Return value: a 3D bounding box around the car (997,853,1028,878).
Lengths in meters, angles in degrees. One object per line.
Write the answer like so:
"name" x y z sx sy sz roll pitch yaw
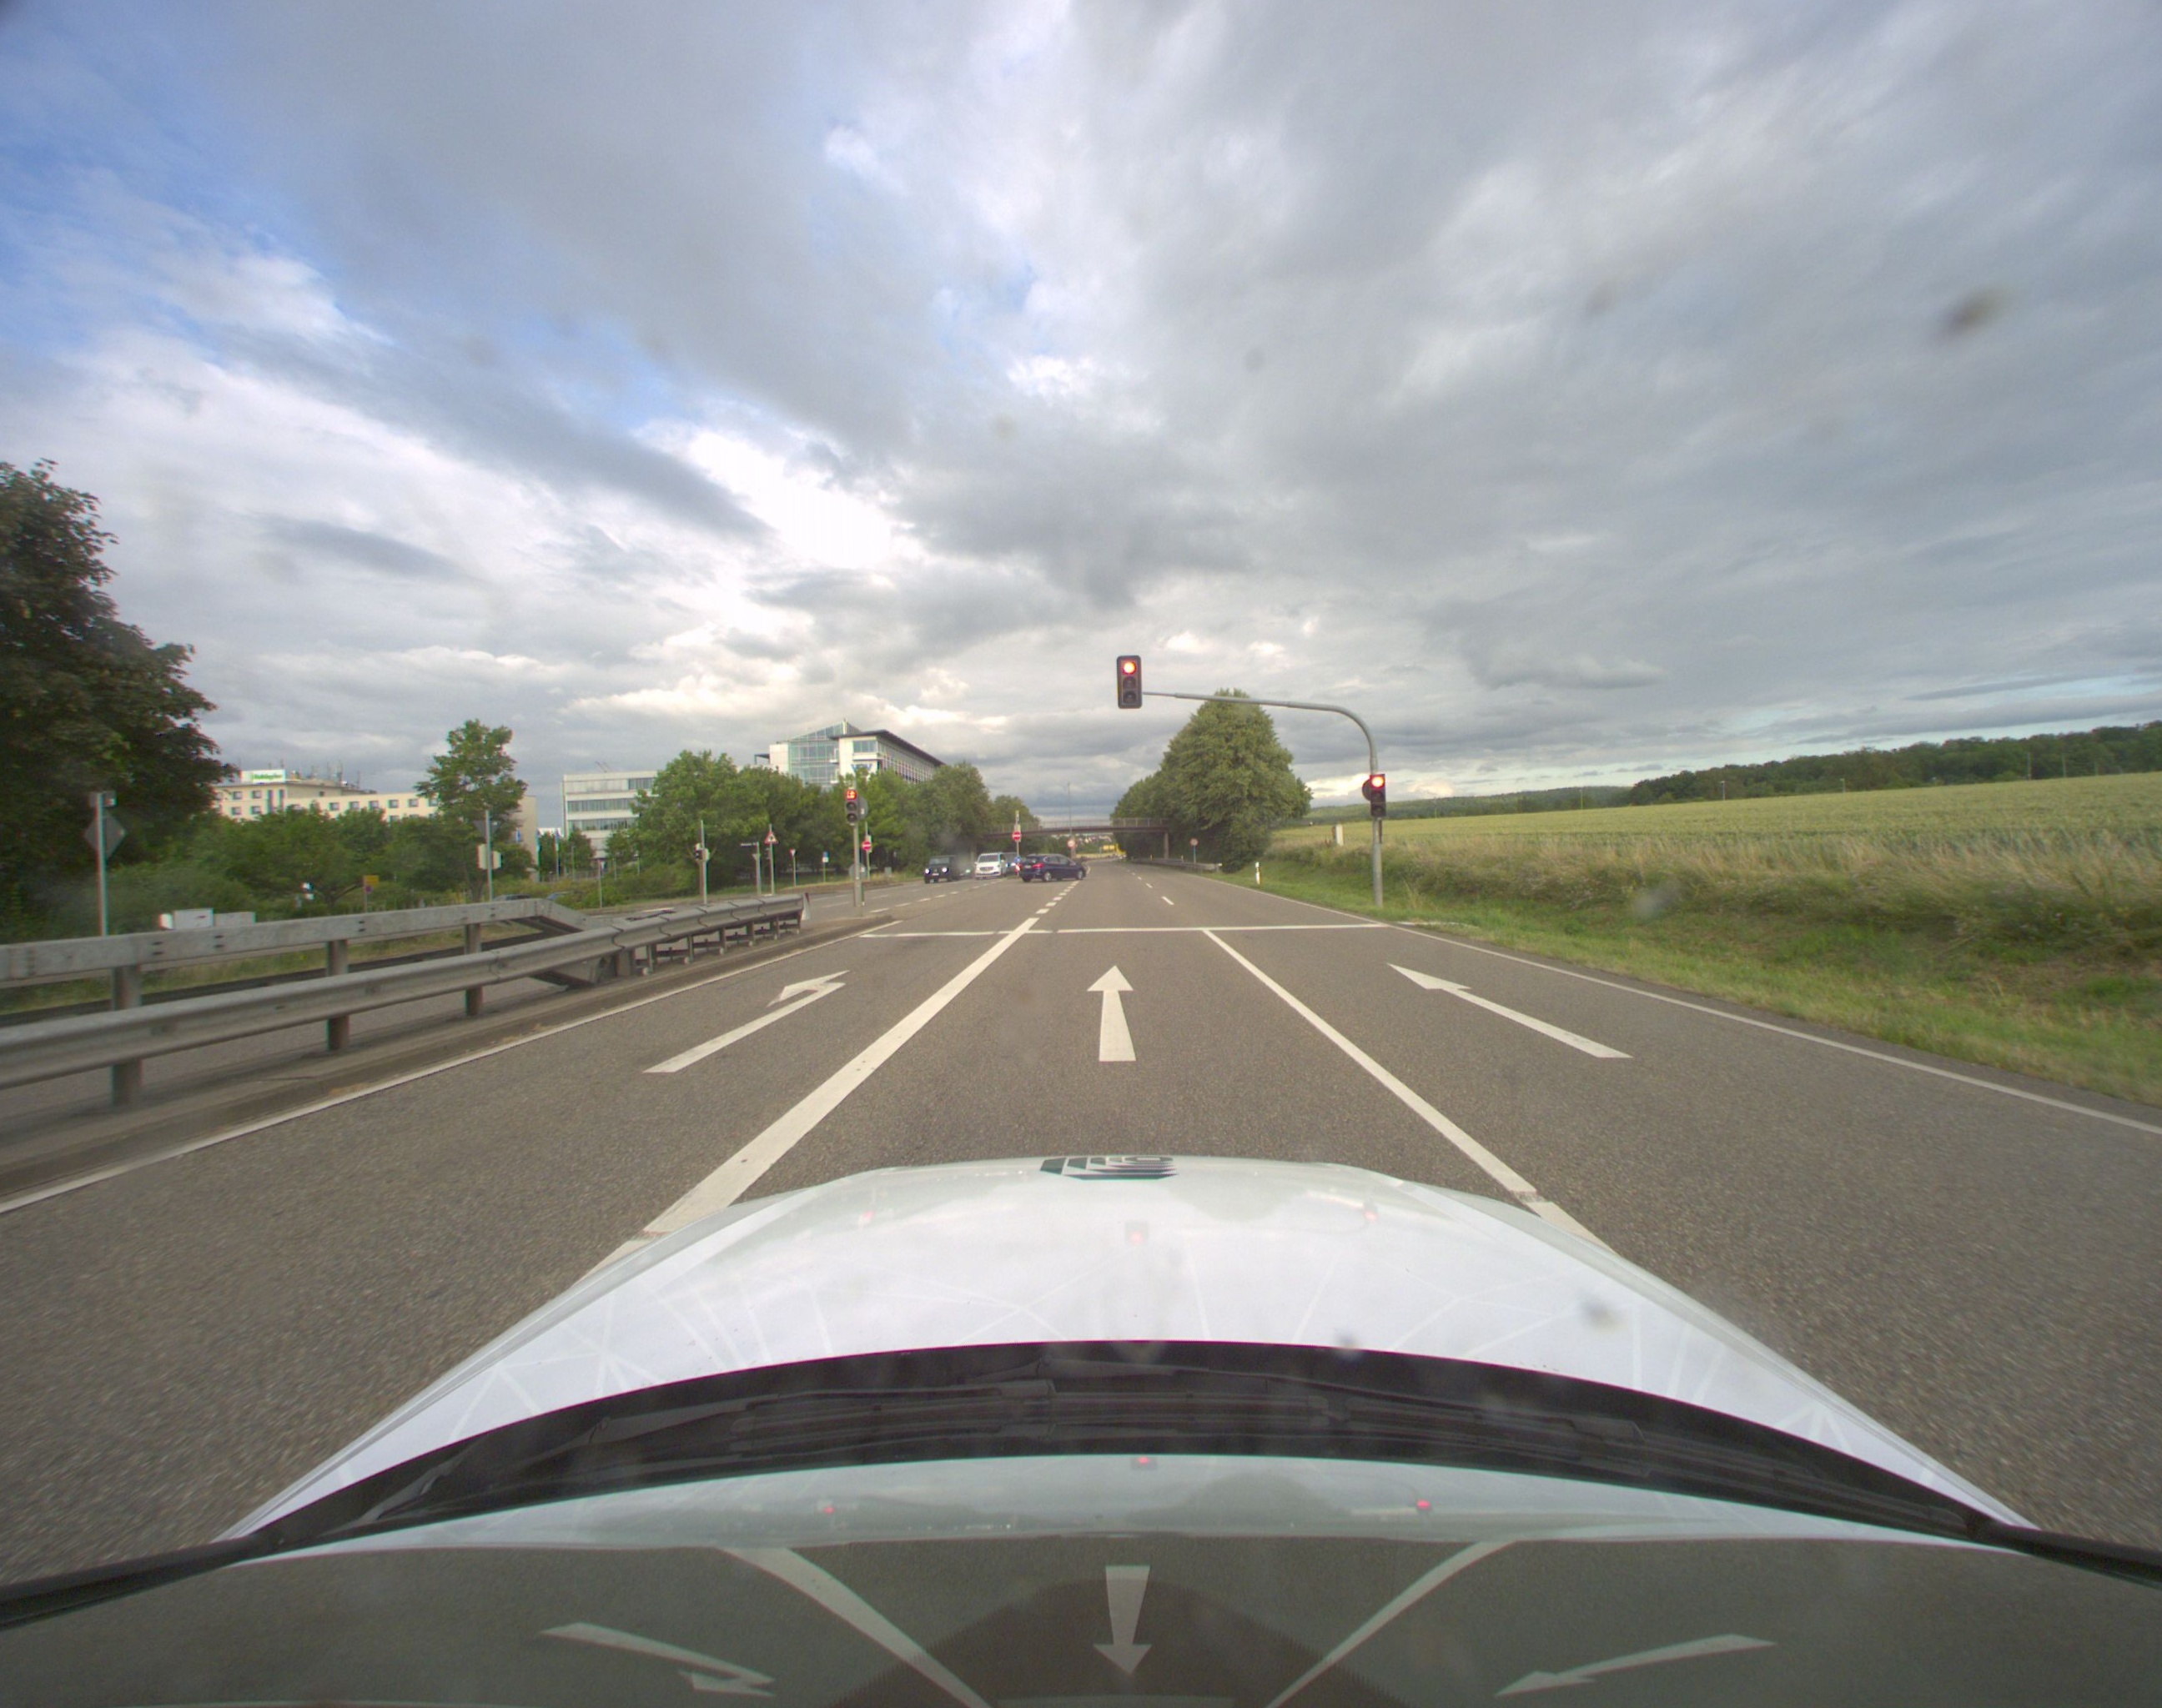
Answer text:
"car" -5.694 0.939 68.423 2.076 2.014 5.216 0 0 1

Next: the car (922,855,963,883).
"car" -10.245 1.084 60.687 2.076 2.014 5.216 0 0 1

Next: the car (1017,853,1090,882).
"car" -1.544 0.736 46.165 1.862 1.552 4.024 -1 -1 42

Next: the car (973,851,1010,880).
"car" -6.626 0.849 60.705 2.076 2.014 5.216 0 0 1

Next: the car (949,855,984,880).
"car" -9.534 1.131 68.175 2.076 2.014 5.216 0 0 1
